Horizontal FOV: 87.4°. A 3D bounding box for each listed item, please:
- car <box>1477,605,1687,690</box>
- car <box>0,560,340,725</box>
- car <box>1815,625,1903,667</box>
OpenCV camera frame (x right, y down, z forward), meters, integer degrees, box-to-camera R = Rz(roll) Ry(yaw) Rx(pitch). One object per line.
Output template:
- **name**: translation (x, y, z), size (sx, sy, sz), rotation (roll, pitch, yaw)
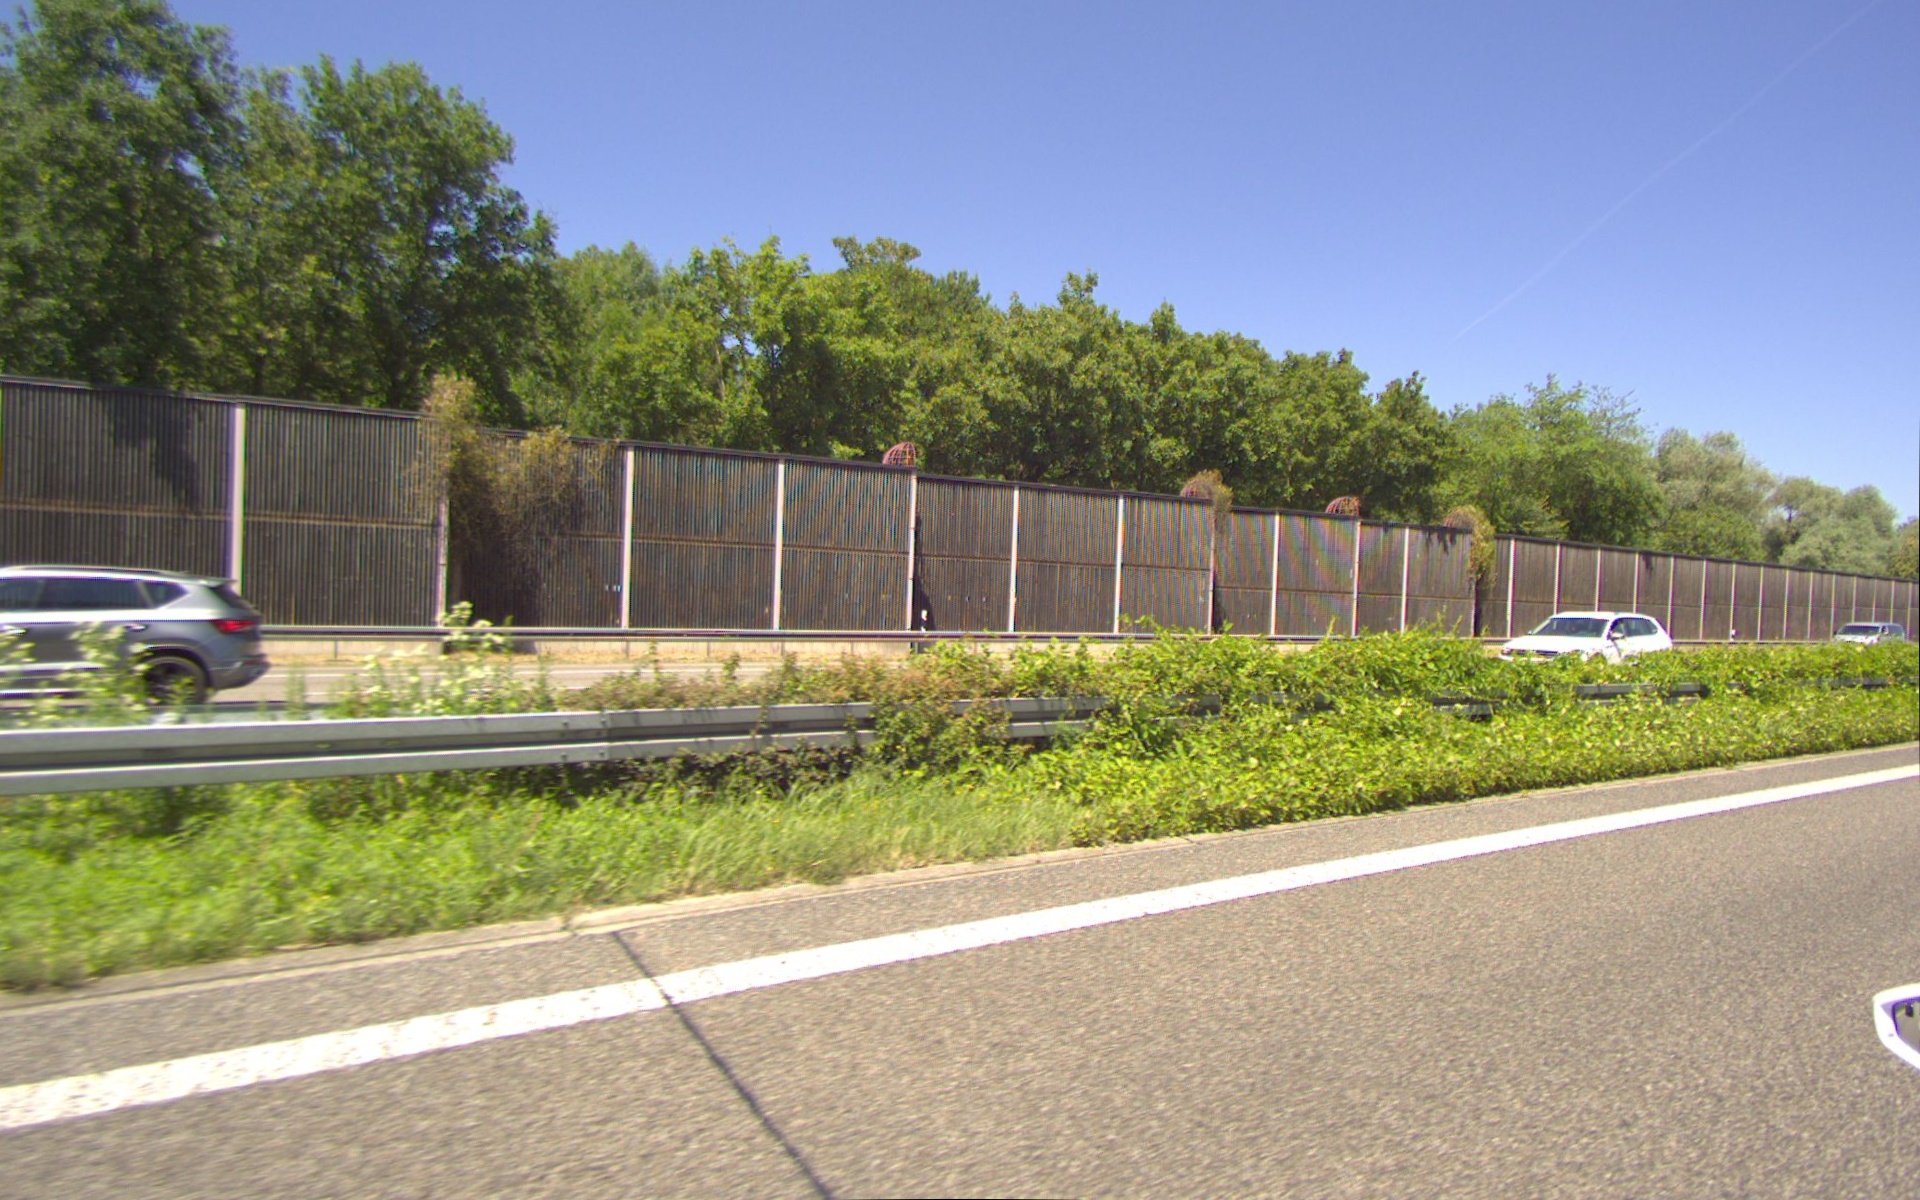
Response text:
- **car**: translation (13.768, 1.010, 22.160), size (4.990, 1.669, 1.982), rotation (2, 0, -33)
- **car**: translation (-9.745, 0.444, 11.329), size (4.641, 1.669, 1.982), rotation (2, 0, -32)
- **car**: translation (46.907, 2.398, 52.386), size (5.324, 2.040, 1.983), rotation (2, 0, -31)
